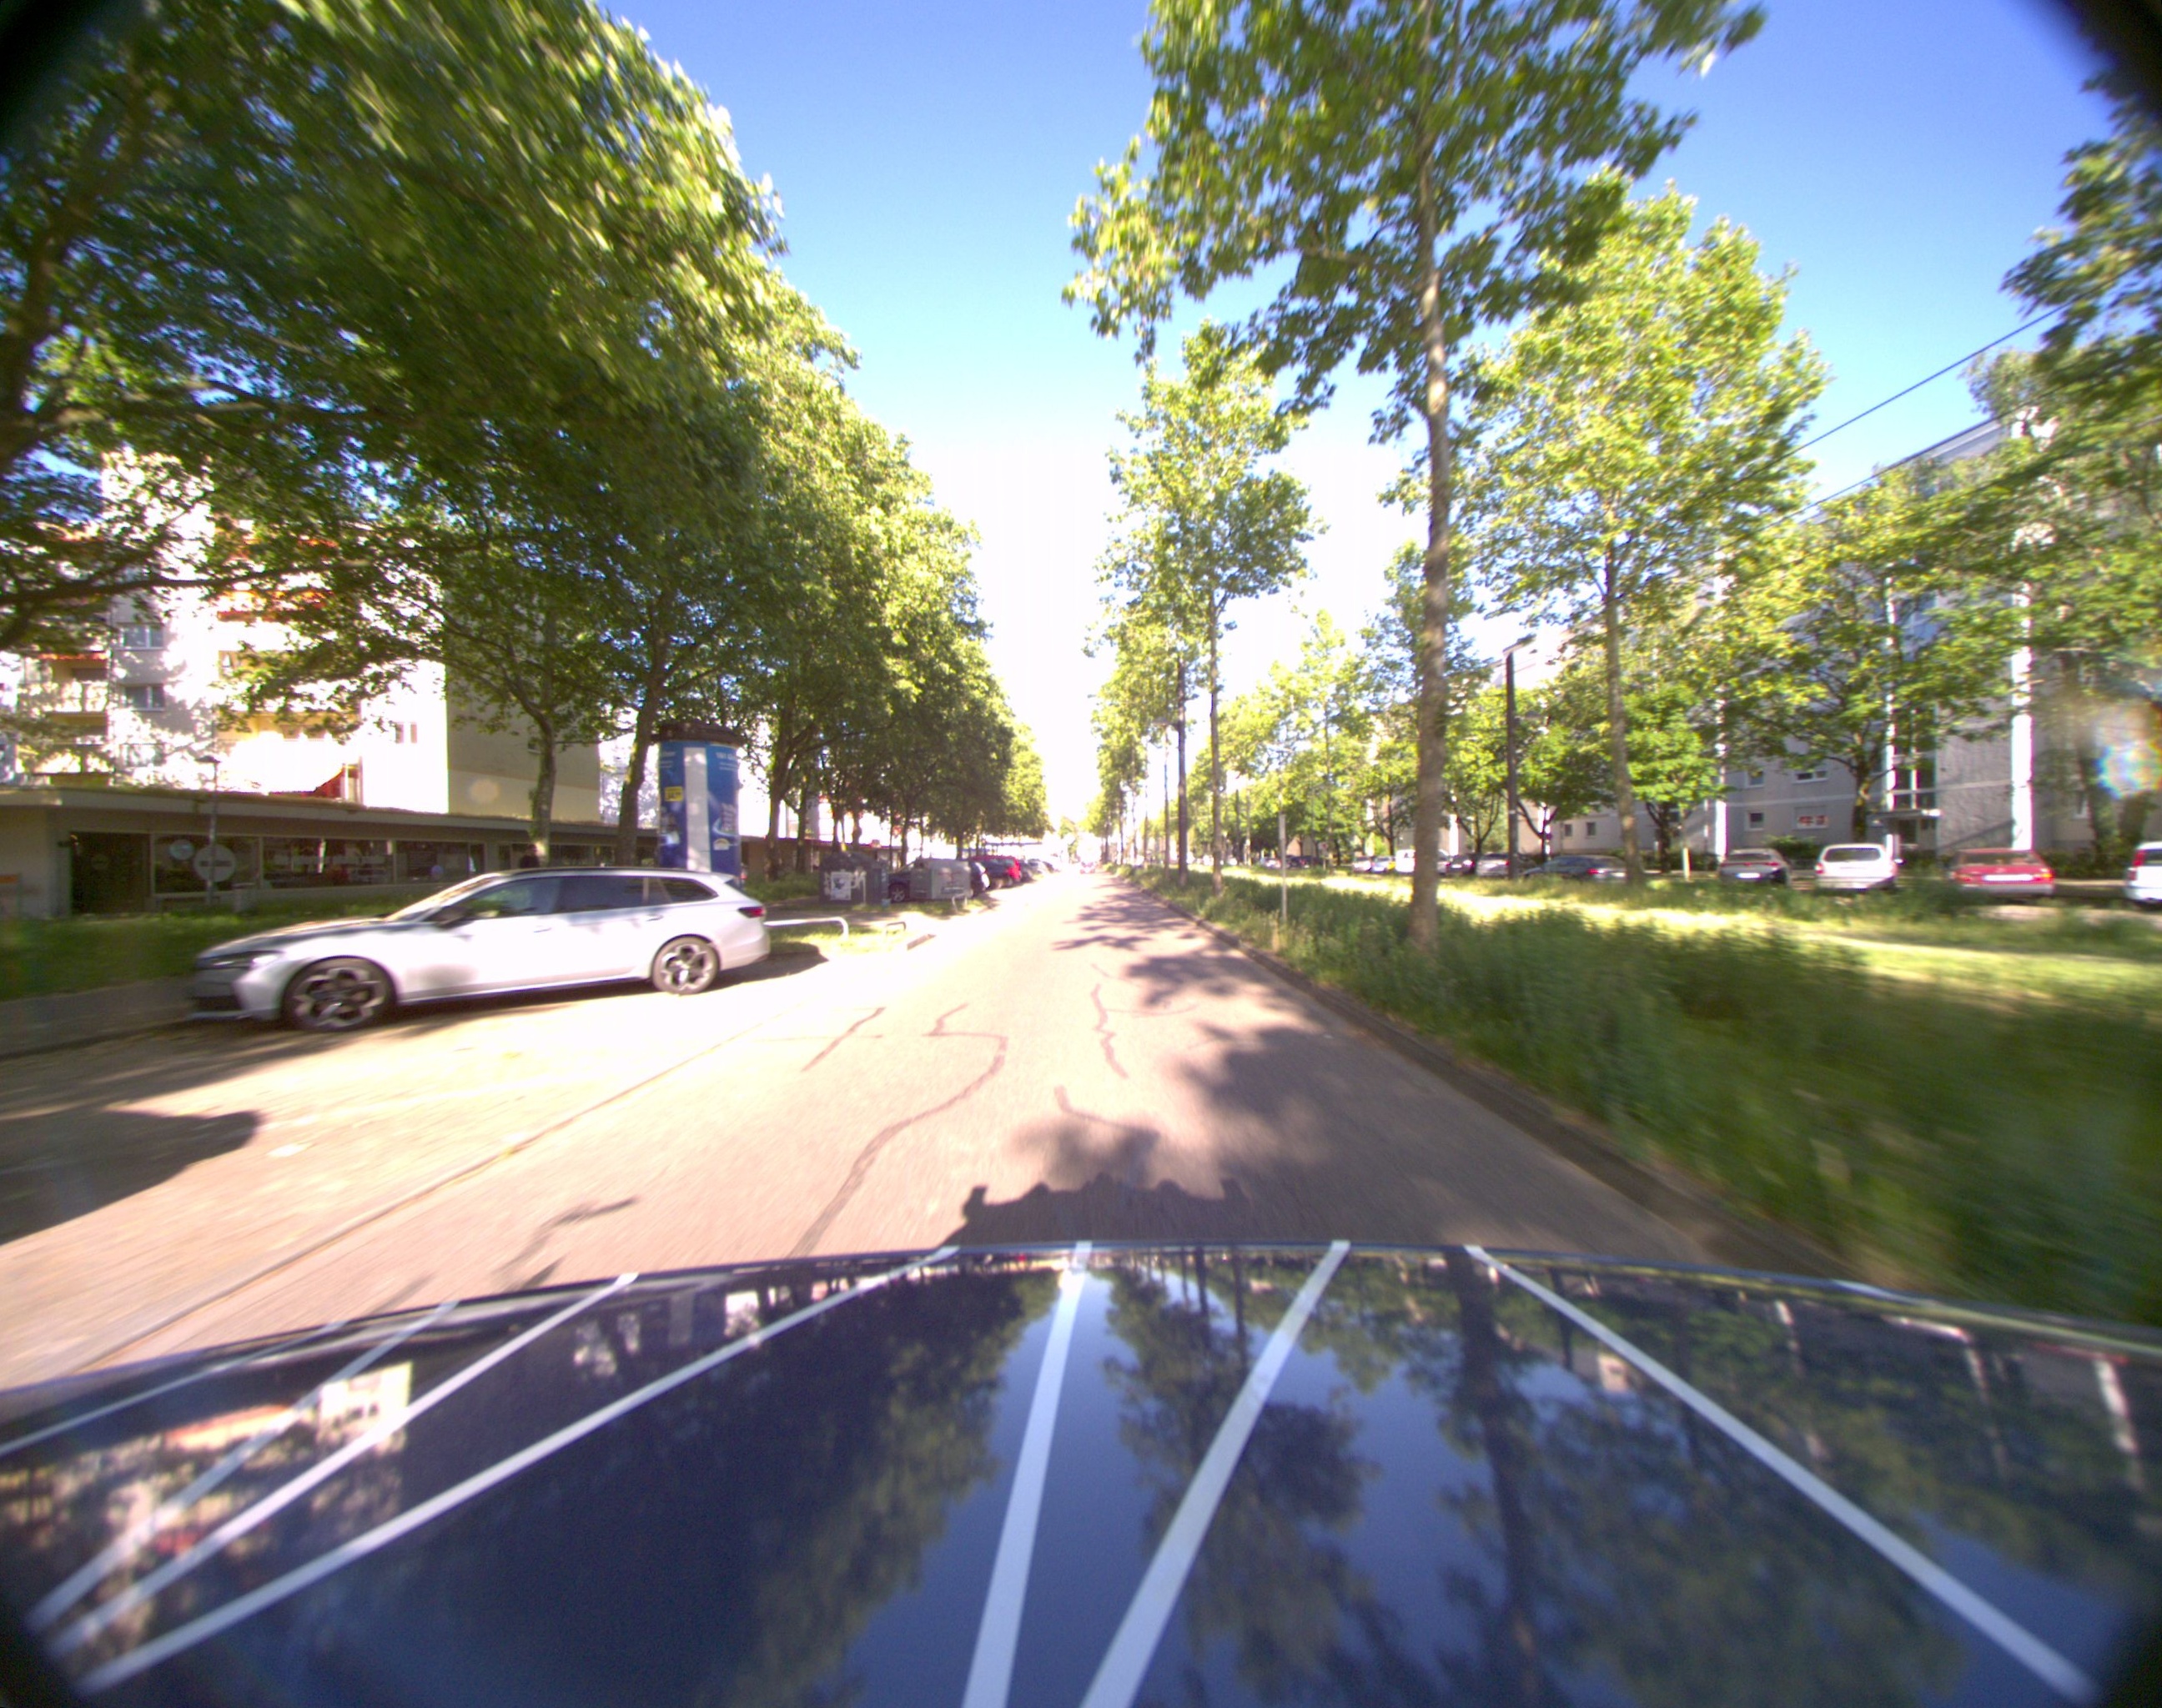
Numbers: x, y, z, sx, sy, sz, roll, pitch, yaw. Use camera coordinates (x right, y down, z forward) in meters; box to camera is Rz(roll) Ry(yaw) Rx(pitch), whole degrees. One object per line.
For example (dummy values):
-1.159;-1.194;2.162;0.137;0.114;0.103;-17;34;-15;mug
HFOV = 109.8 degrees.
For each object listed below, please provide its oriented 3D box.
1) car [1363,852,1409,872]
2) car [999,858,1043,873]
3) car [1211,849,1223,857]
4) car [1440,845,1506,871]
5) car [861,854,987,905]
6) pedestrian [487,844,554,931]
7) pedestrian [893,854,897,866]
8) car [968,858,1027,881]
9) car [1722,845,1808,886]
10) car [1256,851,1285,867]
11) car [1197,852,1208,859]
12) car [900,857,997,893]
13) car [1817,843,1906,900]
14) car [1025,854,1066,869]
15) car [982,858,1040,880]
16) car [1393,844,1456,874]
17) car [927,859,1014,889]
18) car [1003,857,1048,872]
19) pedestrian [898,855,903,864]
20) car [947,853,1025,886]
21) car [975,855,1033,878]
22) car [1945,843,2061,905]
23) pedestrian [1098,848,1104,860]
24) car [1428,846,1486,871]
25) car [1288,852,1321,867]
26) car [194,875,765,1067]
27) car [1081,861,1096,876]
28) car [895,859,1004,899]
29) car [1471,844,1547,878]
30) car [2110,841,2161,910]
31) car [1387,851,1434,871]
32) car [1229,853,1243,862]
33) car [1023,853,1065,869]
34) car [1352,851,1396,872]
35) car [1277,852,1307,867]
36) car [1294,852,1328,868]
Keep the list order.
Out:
24.076;0.614;59.874;4.093;1.474;1.647;-1;0;-41;car
-5.547;1.033;70.855;3.947;1.365;1.583;0;0;-42;car
24.612;-0.174;137.529;1.718;1.537;3.934;-1;0;4;car
24.239;0.236;46.924;4.092;1.521;1.814;-1;-1;-33;car
-5.849;0.900;28.584;4.329;1.707;1.631;-1;0;-38;car
-12.730;0.737;17.294;0.875;1.903;0.871;-1;1;-8;pedestrian
-27.059;0.836;110.429;0.496;1.690;0.715;-1;0;-4;pedestrian
-5.429;0.969;49.732;1.646;1.440;3.635;1;0;45;car
24.598;0.370;27.275;4.140;1.330;1.790;-1;1;-41;car
19.729;0.501;79.284;1.928;1.497;4.085;2;0;0;car
24.602;0.325;153.992;1.598;1.480;4.020;-1;0;0;car
-6.049;0.923;34.941;4.094;1.573;1.776;0;0;-41;car
24.724;0.488;24.045;3.987;1.665;1.782;-1;1;-42;car
-3.978;0.854;85.418;4.512;1.695;1.756;0;0;-40;car
-4.911;1.008;53.502;3.795;1.462;1.646;0;0;-42;car
24.150;0.336;53.304;4.807;1.994;1.888;-1;-1;-37;car
-5.644;0.994;38.861;4.093;1.472;1.647;0;0;-35;car
-5.444;0.989;74.963;4.194;1.404;1.715;0;0;-42;car
-26.441;0.801;111.168;0.533;1.422;0.715;-1;0;-4;pedestrian
-5.339;0.833;42.799;4.093;1.800;1.646;0;0;-39;car
-5.723;0.905;56.754;4.036;1.695;1.756;0;0;-40;car
24.058;0.458;19.955;3.929;1.479;1.790;-1;1;-42;car
3.029;0.024;113.457;0.799;1.874;0.928;-1;0;5;pedestrian
25.059;0.273;50.595;4.091;1.424;1.576;-3;0;-33;car
25.141;0.618;85.451;4.094;1.636;1.647;0;-3;-45;car
-6.085;1.003;8.310;4.503;1.435;1.851;0;0;-42;car
0.867;1.591;84.519;1.619;1.536;4.278;-1;0;2;car
-5.431;0.988;31.618;4.092;1.573;1.776;0;0;-34;car
24.445;0.377;43.344;4.092;1.600;1.987;-1;9;-35;car
25.182;0.433;17.521;4.495;1.473;1.613;-1;1;-35;car
25.002;0.500;57.588;4.093;1.424;1.575;-1;2;-41;car
25.517;0.584;125.184;1.718;1.537;4.201;-1;0;2;car
-4.324;0.859;89.461;4.680;1.842;1.825;0;0;-39;car
24.617;0.607;63.872;4.093;1.636;1.647;-1;-1;-41;car
24.712;0.663;88.778;1.646;1.637;4.093;2;2;43;car
24.620;0.637;81.232;1.647;1.466;4.094;-6;-4;44;car
